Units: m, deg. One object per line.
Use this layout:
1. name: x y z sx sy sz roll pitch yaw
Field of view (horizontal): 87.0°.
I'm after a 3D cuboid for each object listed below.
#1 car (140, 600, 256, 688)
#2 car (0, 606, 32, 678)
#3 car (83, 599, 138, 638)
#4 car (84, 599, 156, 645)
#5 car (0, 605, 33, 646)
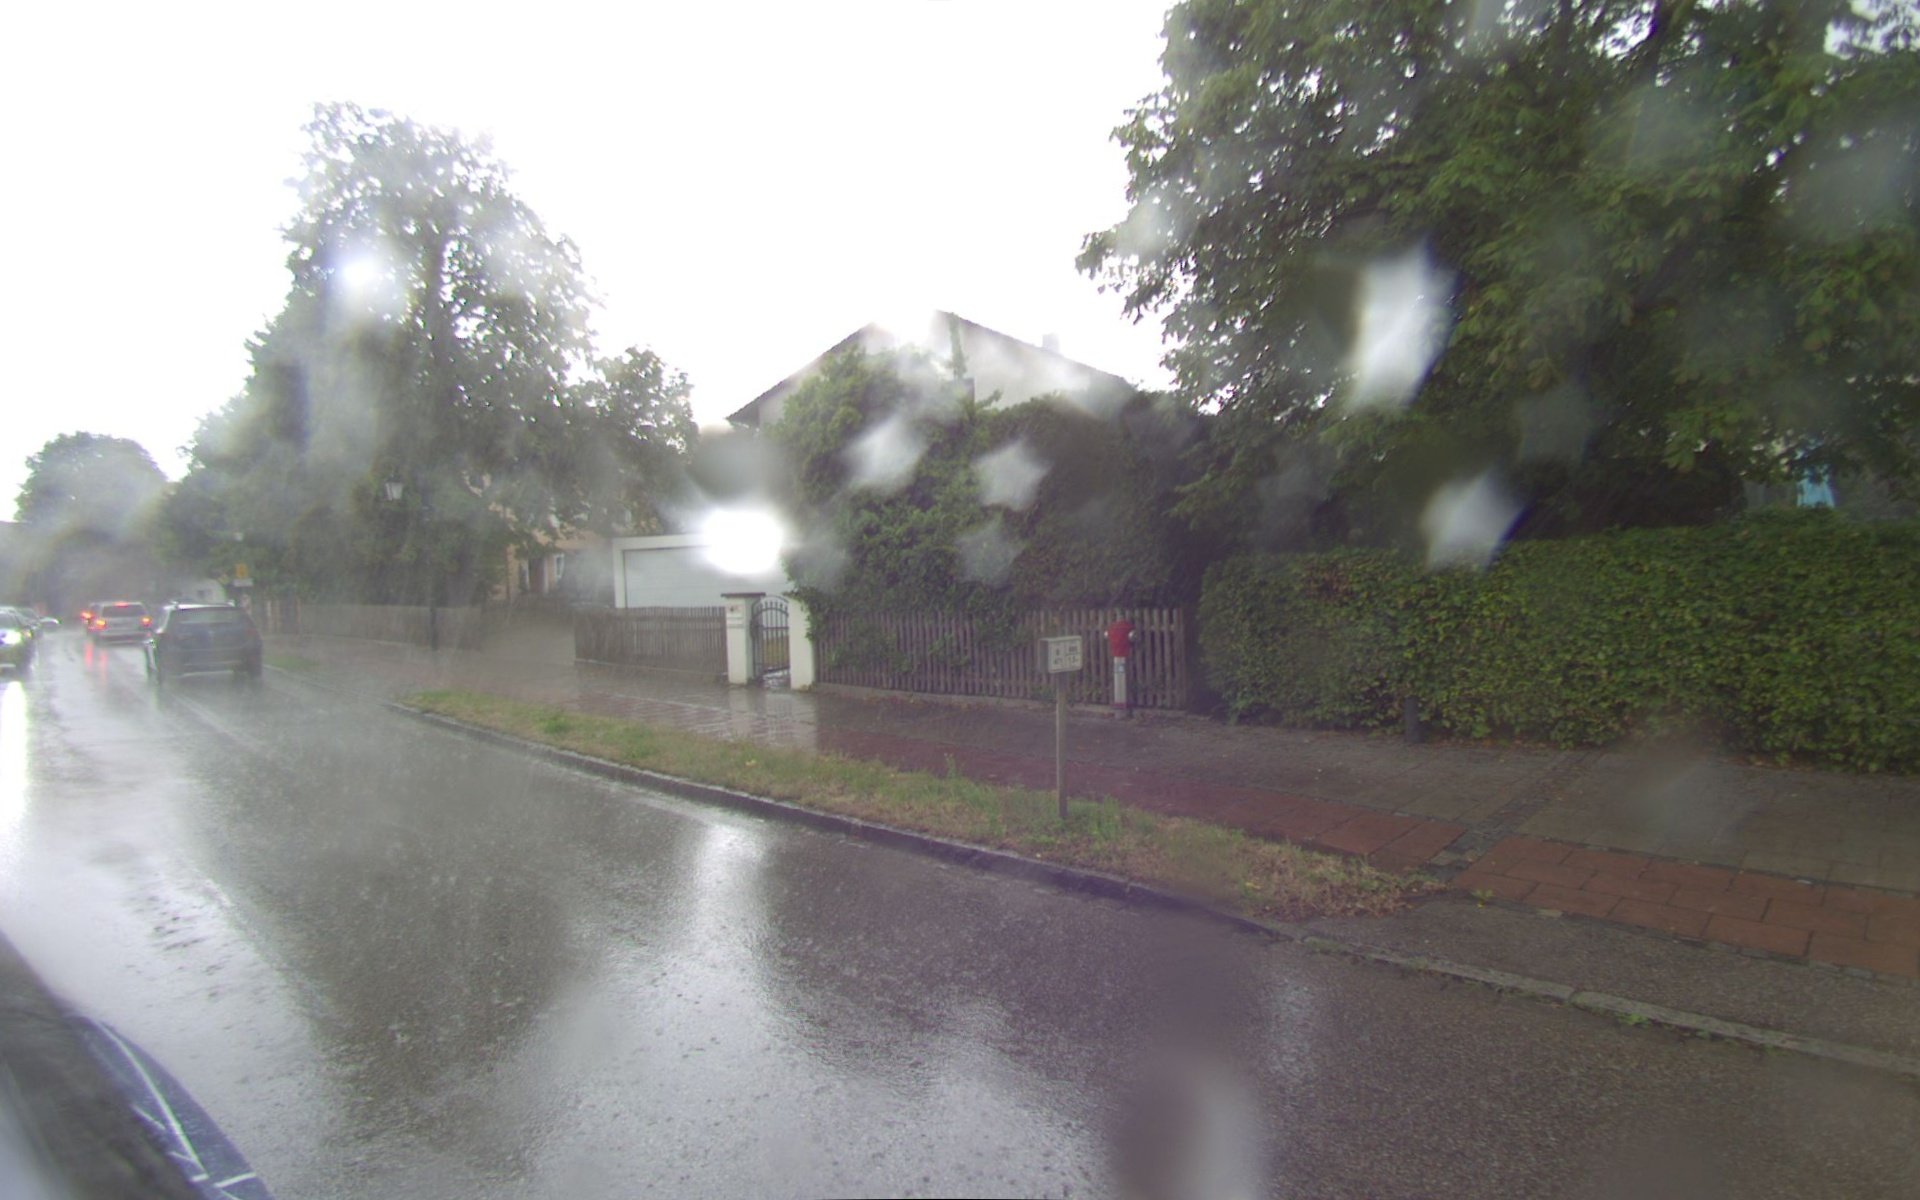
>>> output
1. car: -15.590 0.837 20.644 1.567 1.622 3.542 0 -1 -42
2. car: -24.670 1.028 25.450 1.845 1.624 4.967 -4 3 -42
3. car: -41.216 0.859 49.068 1.899 1.757 4.197 -1 1 -42
4. car: -32.407 0.833 39.020 4.002 1.690 1.733 -1 -1 45
5. car: -38.141 1.002 40.174 1.845 1.532 4.967 -4 2 -42
